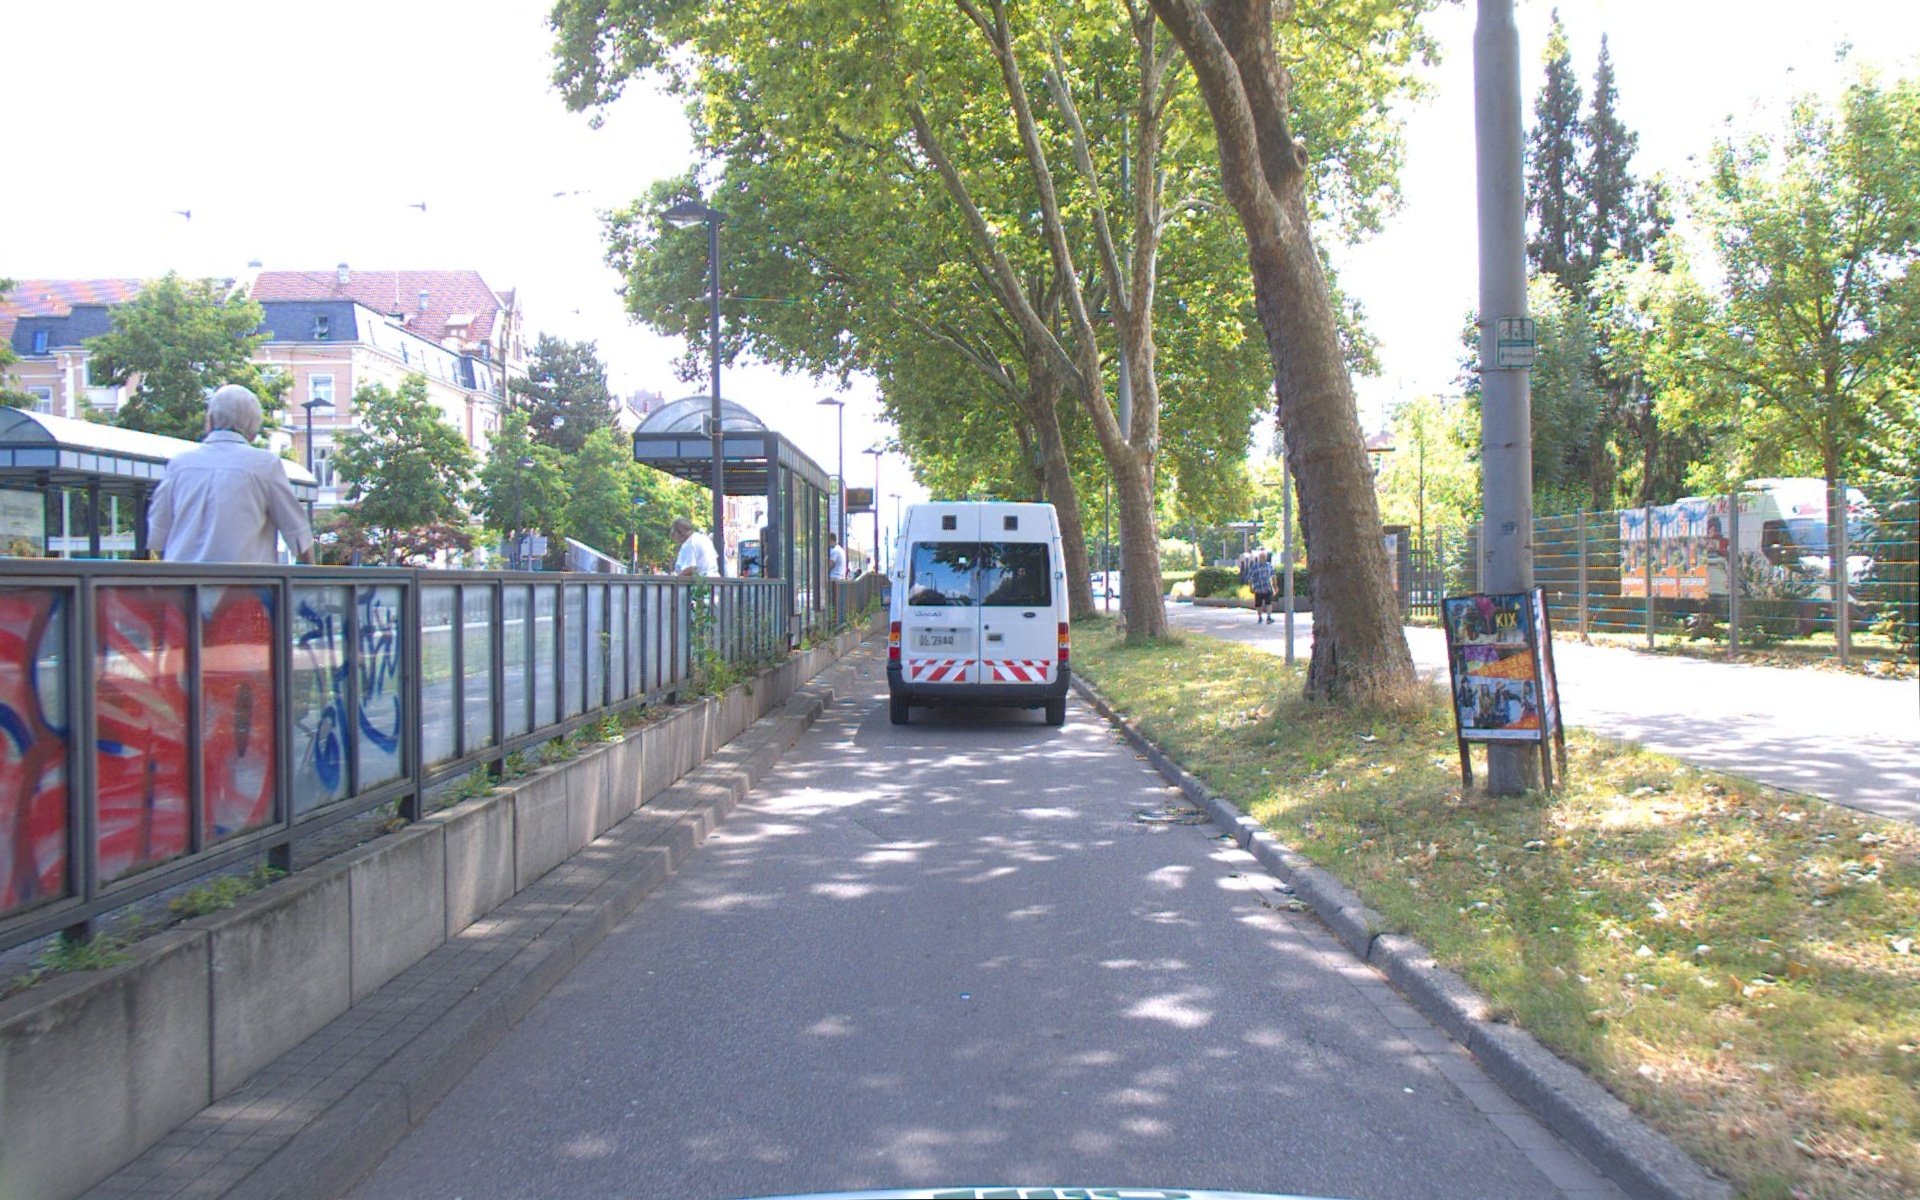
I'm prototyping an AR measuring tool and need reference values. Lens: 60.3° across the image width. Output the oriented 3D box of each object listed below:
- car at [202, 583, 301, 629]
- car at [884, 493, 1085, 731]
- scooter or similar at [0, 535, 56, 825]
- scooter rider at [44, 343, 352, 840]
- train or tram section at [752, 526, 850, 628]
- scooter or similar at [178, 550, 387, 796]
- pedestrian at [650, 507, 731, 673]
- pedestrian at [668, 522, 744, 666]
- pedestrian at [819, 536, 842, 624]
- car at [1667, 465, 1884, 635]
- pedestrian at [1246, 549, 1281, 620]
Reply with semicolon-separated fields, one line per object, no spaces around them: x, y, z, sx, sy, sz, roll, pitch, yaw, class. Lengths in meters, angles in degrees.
-22.816;0.166;53.409;1.684;1.395;3.477;-1;1;0;car
0.188;0.069;19.060;2.006;2.373;4.713;-1;1;-2;car
-3.530;0.270;5.659;0.619;0.972;0.421;-1;1;-1;scooter or similar
-2.634;-0.034;5.809;0.641;1.598;0.901;-1;1;-1;scooter rider
-6.154;-0.894;66.023;2.668;3.646;13.016;0;1;0;train or tram section
-2.638;0.274;6.469;0.641;0.923;0.389;-1;1;-1;scooter or similar
-2.562;-0.094;15.787;0.662;1.542;0.596;-1;1;-1;pedestrian
-2.573;-0.064;16.809;0.662;1.427;0.596;-1;1;-1;pedestrian
-2.409;-0.375;30.829;0.377;1.619;0.439;-1;0;-1;pedestrian
14.505;-0.863;29.694;1.770;2.823;4.278;-1;1;0;car
7.188;-0.375;39.210;0.679;1.653;0.637;-1;1;-1;pedestrian
